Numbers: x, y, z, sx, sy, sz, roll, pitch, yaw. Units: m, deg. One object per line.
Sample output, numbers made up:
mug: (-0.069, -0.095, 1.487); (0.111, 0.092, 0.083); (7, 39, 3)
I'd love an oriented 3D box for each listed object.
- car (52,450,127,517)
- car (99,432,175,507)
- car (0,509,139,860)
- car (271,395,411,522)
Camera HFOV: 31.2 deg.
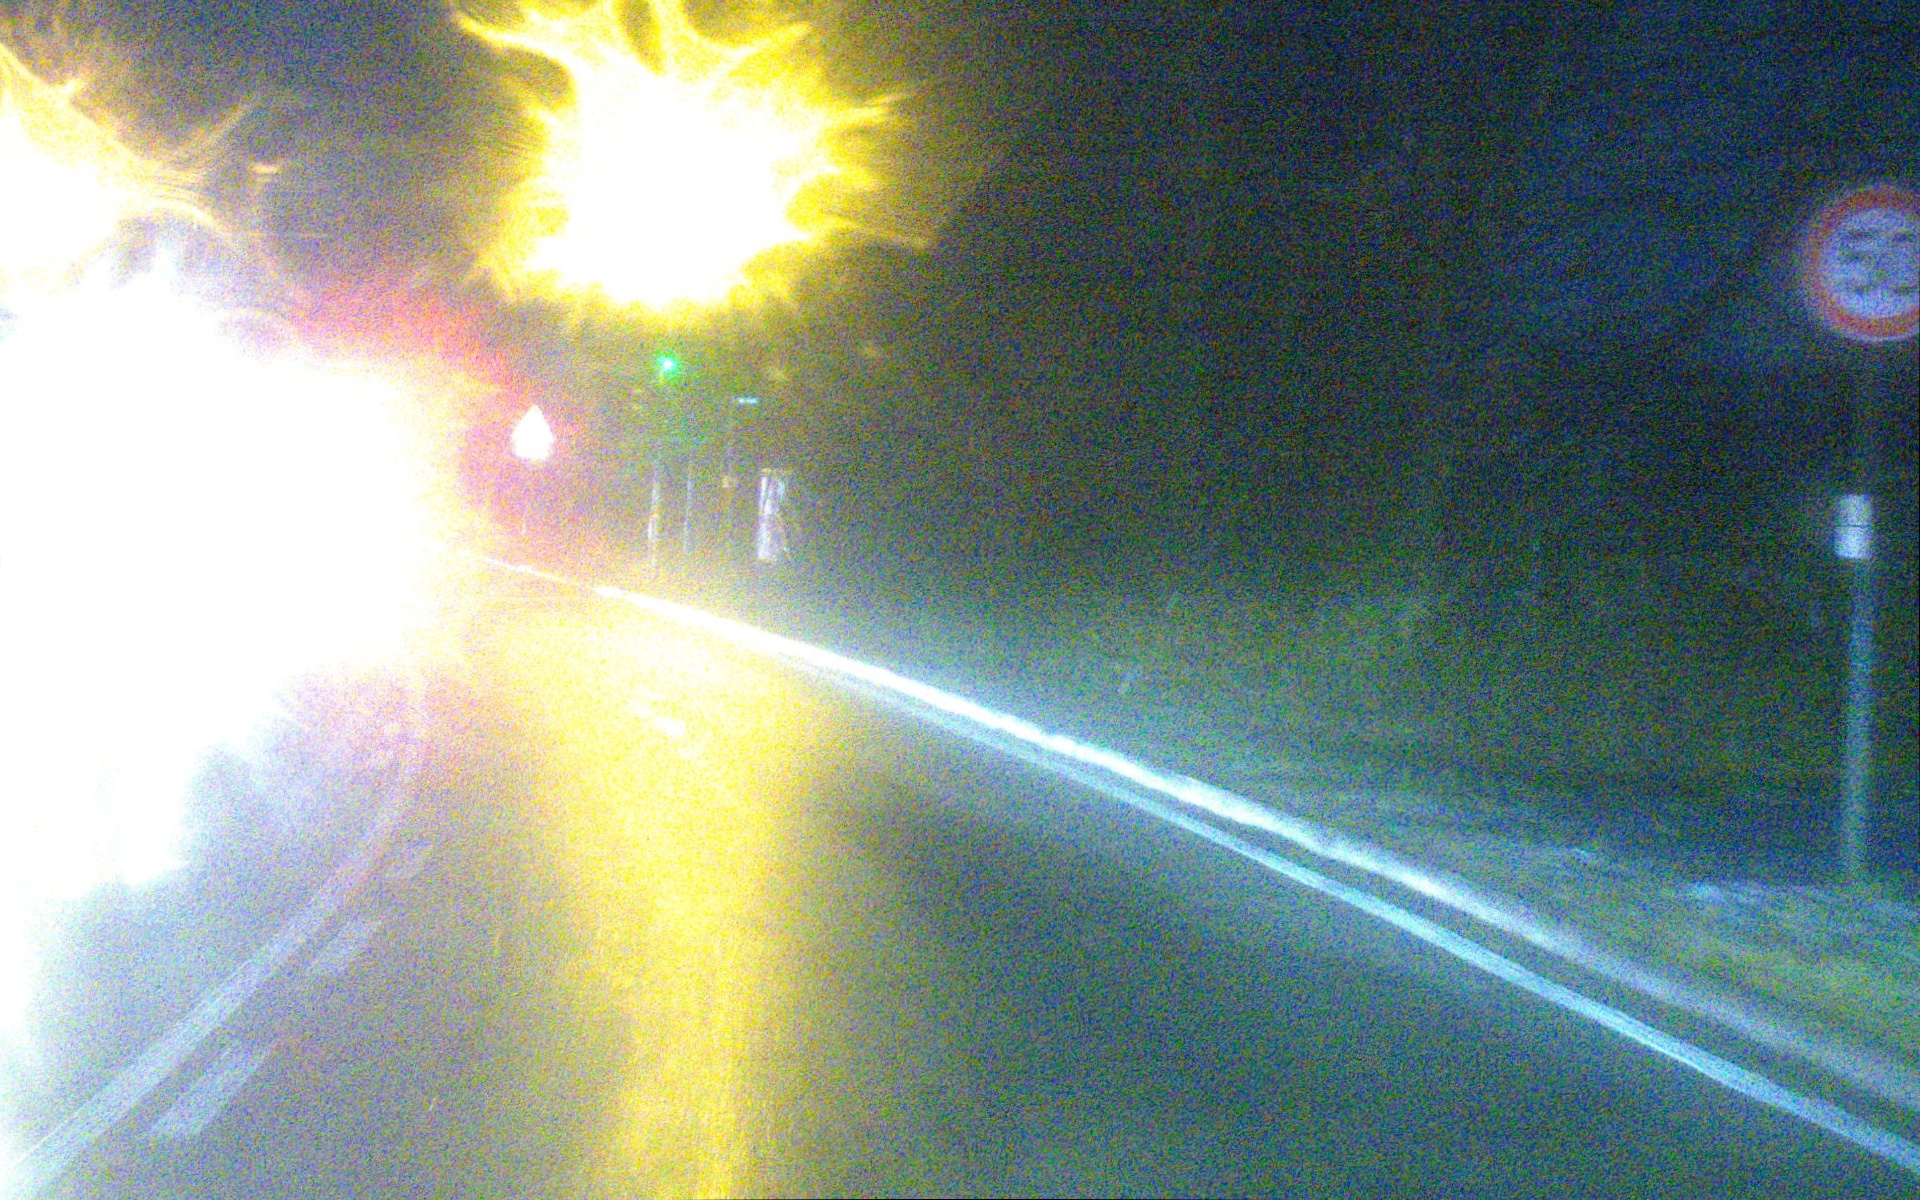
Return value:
car: (-20.755, -2.776, 81.924); (1.635, 1.505, 4.118); (-2, 2, -14)
car: (-23.844, -3.760, 99.500); (1.993, 2.007, 4.001); (1, 0, -15)
car: (-5.341, 0.342, 17.595); (1.695, 1.594, 3.802); (0, 2, -5)
car: (-13.037, -3.019, 72.133); (2.538, 2.489, 5.717); (-1, 4, -13)
